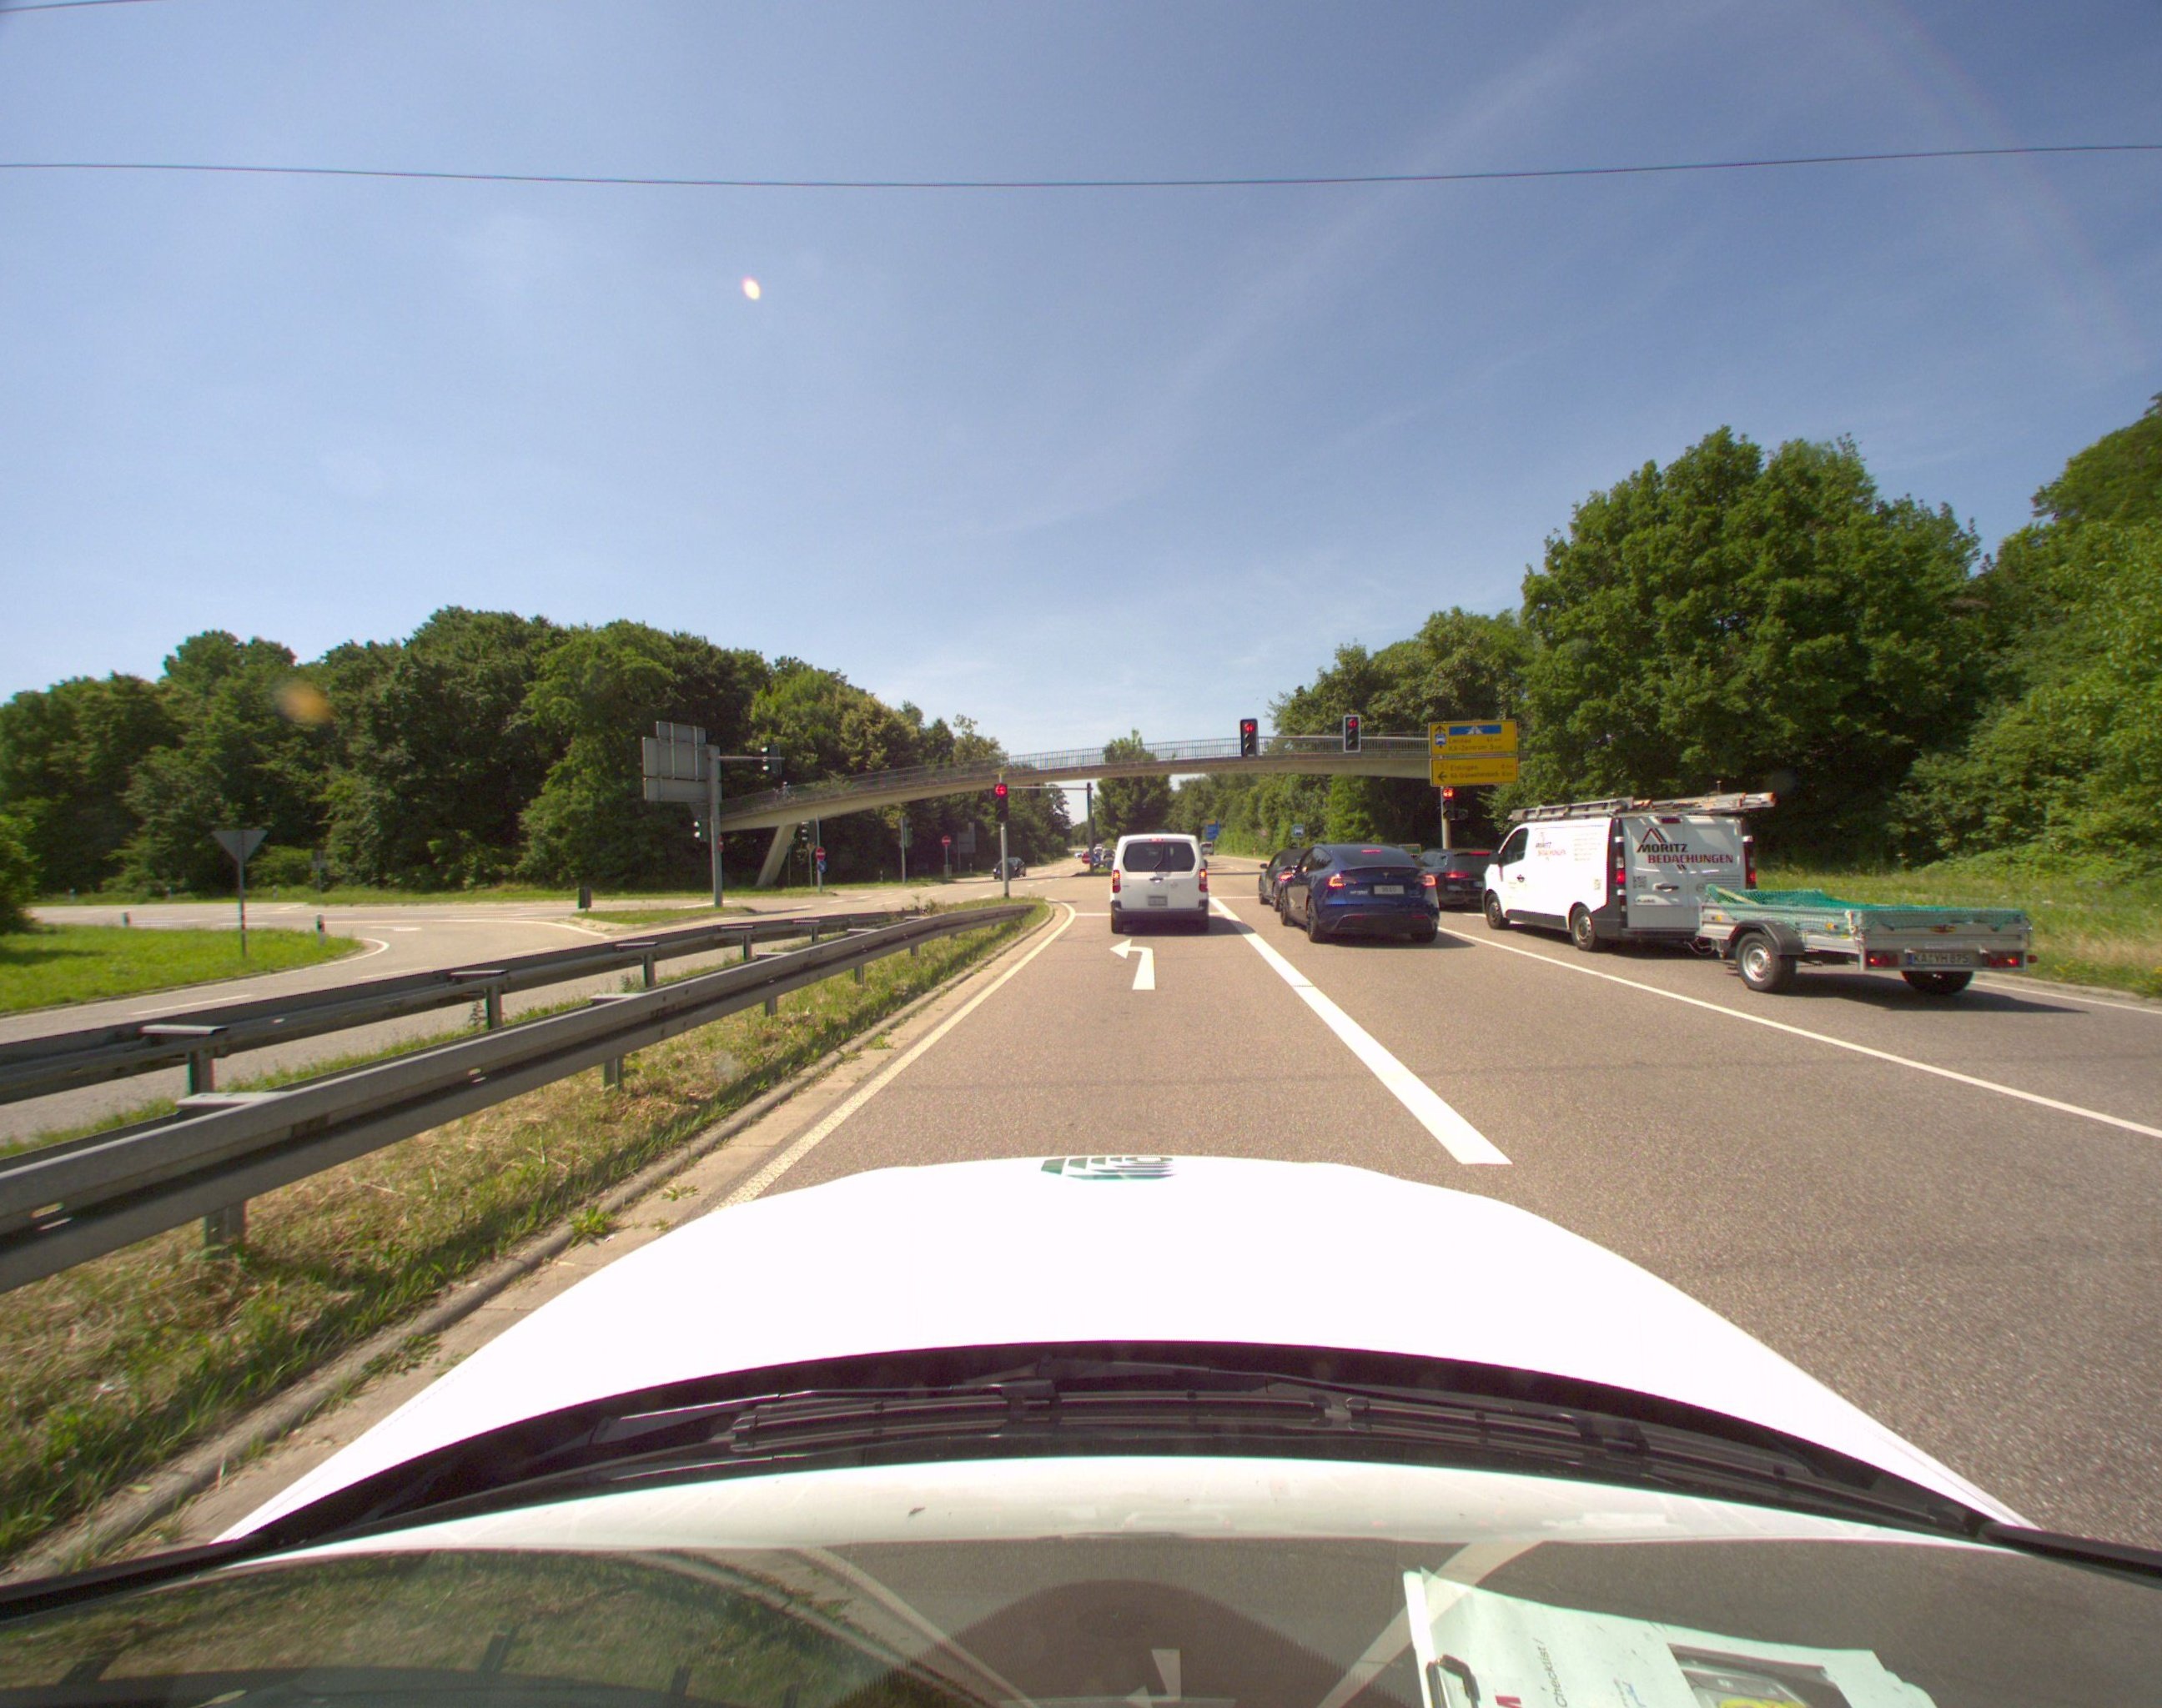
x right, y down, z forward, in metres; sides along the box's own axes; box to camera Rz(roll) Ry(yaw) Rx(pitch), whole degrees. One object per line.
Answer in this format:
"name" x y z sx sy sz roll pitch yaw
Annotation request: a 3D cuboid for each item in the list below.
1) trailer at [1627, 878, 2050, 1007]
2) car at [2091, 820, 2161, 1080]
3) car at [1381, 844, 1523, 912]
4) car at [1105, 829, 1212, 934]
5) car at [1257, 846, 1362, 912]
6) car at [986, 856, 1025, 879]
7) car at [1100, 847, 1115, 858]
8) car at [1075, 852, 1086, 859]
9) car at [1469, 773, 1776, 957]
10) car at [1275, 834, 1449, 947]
"trailer" 7.750 0.828 8.812 1.697 1.006 3.329 -1 0 6
"car" 7.307 0.582 3.193 1.756 1.595 4.172 -2 0 6
"car" 8.950 0.515 20.094 1.891 1.477 4.388 0 0 6
"car" 1.525 0.449 16.198 1.840 1.825 3.987 0 1 5
"car" 5.587 0.546 20.369 1.891 1.477 3.946 0 0 6
"car" -5.397 0.962 58.783 1.998 1.460 4.062 -3 0 6
"car" 4.212 -0.212 128.376 1.983 1.684 4.007 0 -1 6
"car" -0.106 0.296 163.594 1.744 1.406 4.007 -2 0 6
"car" 8.153 0.130 13.001 1.923 2.349 5.083 0 0 5
"car" 4.653 0.515 14.201 1.891 1.644 4.528 0 0 6
